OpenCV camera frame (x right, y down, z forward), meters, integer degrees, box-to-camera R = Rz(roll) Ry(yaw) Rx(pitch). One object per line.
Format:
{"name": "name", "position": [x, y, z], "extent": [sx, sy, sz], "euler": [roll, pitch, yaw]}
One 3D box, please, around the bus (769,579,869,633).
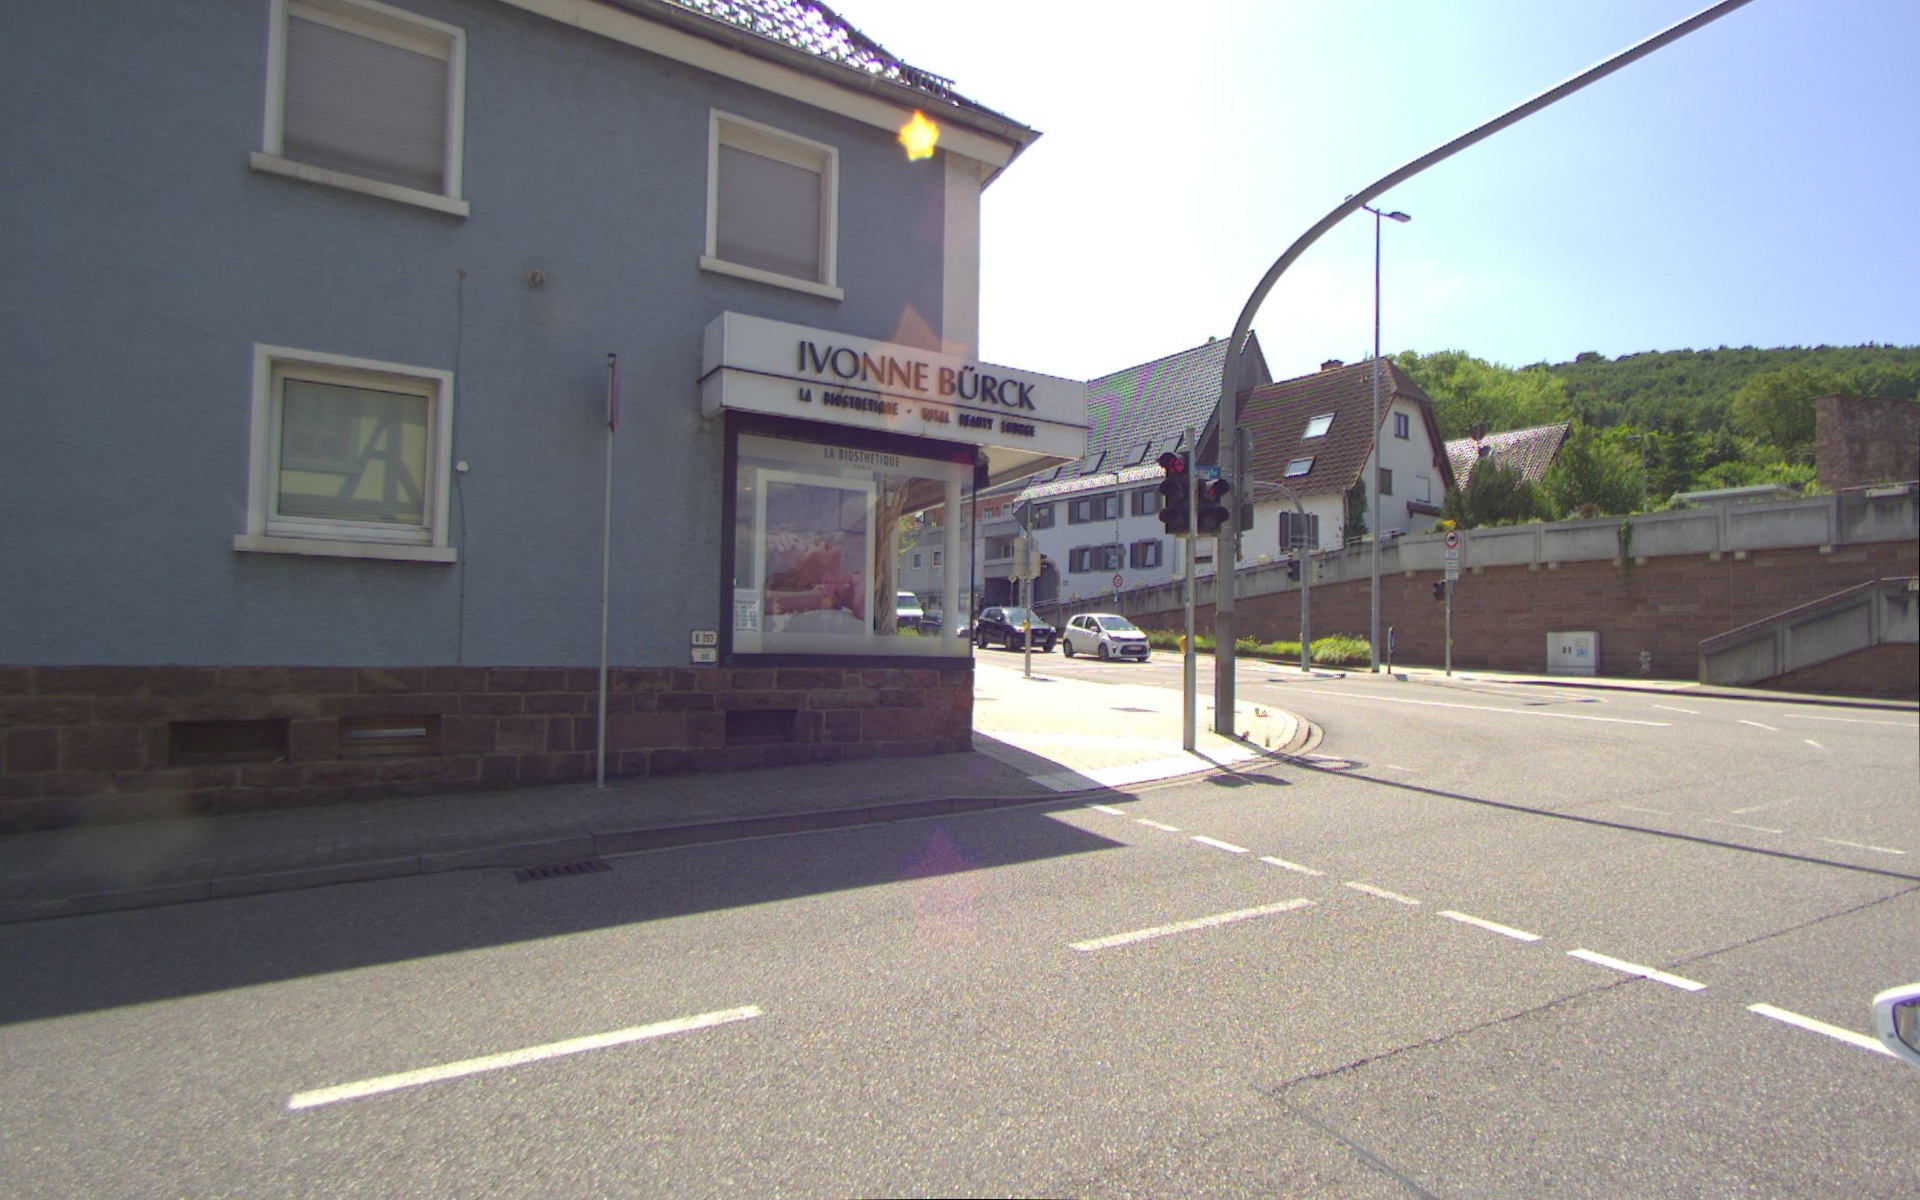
{"name": "bus", "position": [-9.524, 0.356, 65.957], "extent": [2.515, 3.211, 12.561], "euler": [0, 0, -27]}

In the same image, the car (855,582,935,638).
{"name": "car", "position": [-3.612, 0.515, 54.246], "extent": [2.272, 2.859, 6.469], "euler": [0, 0, -23]}

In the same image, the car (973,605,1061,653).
{"name": "car", "position": [2.143, 1.078, 38.904], "extent": [1.838, 1.737, 3.977], "euler": [0, 0, -23]}

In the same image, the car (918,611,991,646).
{"name": "car", "position": [-0.292, 1.242, 45.062], "extent": [1.838, 1.499, 3.976], "euler": [0, 0, -24]}

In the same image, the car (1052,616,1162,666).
{"name": "car", "position": [4.822, 1.299, 33.489], "extent": [1.838, 1.499, 3.976], "euler": [0, 0, -24]}
